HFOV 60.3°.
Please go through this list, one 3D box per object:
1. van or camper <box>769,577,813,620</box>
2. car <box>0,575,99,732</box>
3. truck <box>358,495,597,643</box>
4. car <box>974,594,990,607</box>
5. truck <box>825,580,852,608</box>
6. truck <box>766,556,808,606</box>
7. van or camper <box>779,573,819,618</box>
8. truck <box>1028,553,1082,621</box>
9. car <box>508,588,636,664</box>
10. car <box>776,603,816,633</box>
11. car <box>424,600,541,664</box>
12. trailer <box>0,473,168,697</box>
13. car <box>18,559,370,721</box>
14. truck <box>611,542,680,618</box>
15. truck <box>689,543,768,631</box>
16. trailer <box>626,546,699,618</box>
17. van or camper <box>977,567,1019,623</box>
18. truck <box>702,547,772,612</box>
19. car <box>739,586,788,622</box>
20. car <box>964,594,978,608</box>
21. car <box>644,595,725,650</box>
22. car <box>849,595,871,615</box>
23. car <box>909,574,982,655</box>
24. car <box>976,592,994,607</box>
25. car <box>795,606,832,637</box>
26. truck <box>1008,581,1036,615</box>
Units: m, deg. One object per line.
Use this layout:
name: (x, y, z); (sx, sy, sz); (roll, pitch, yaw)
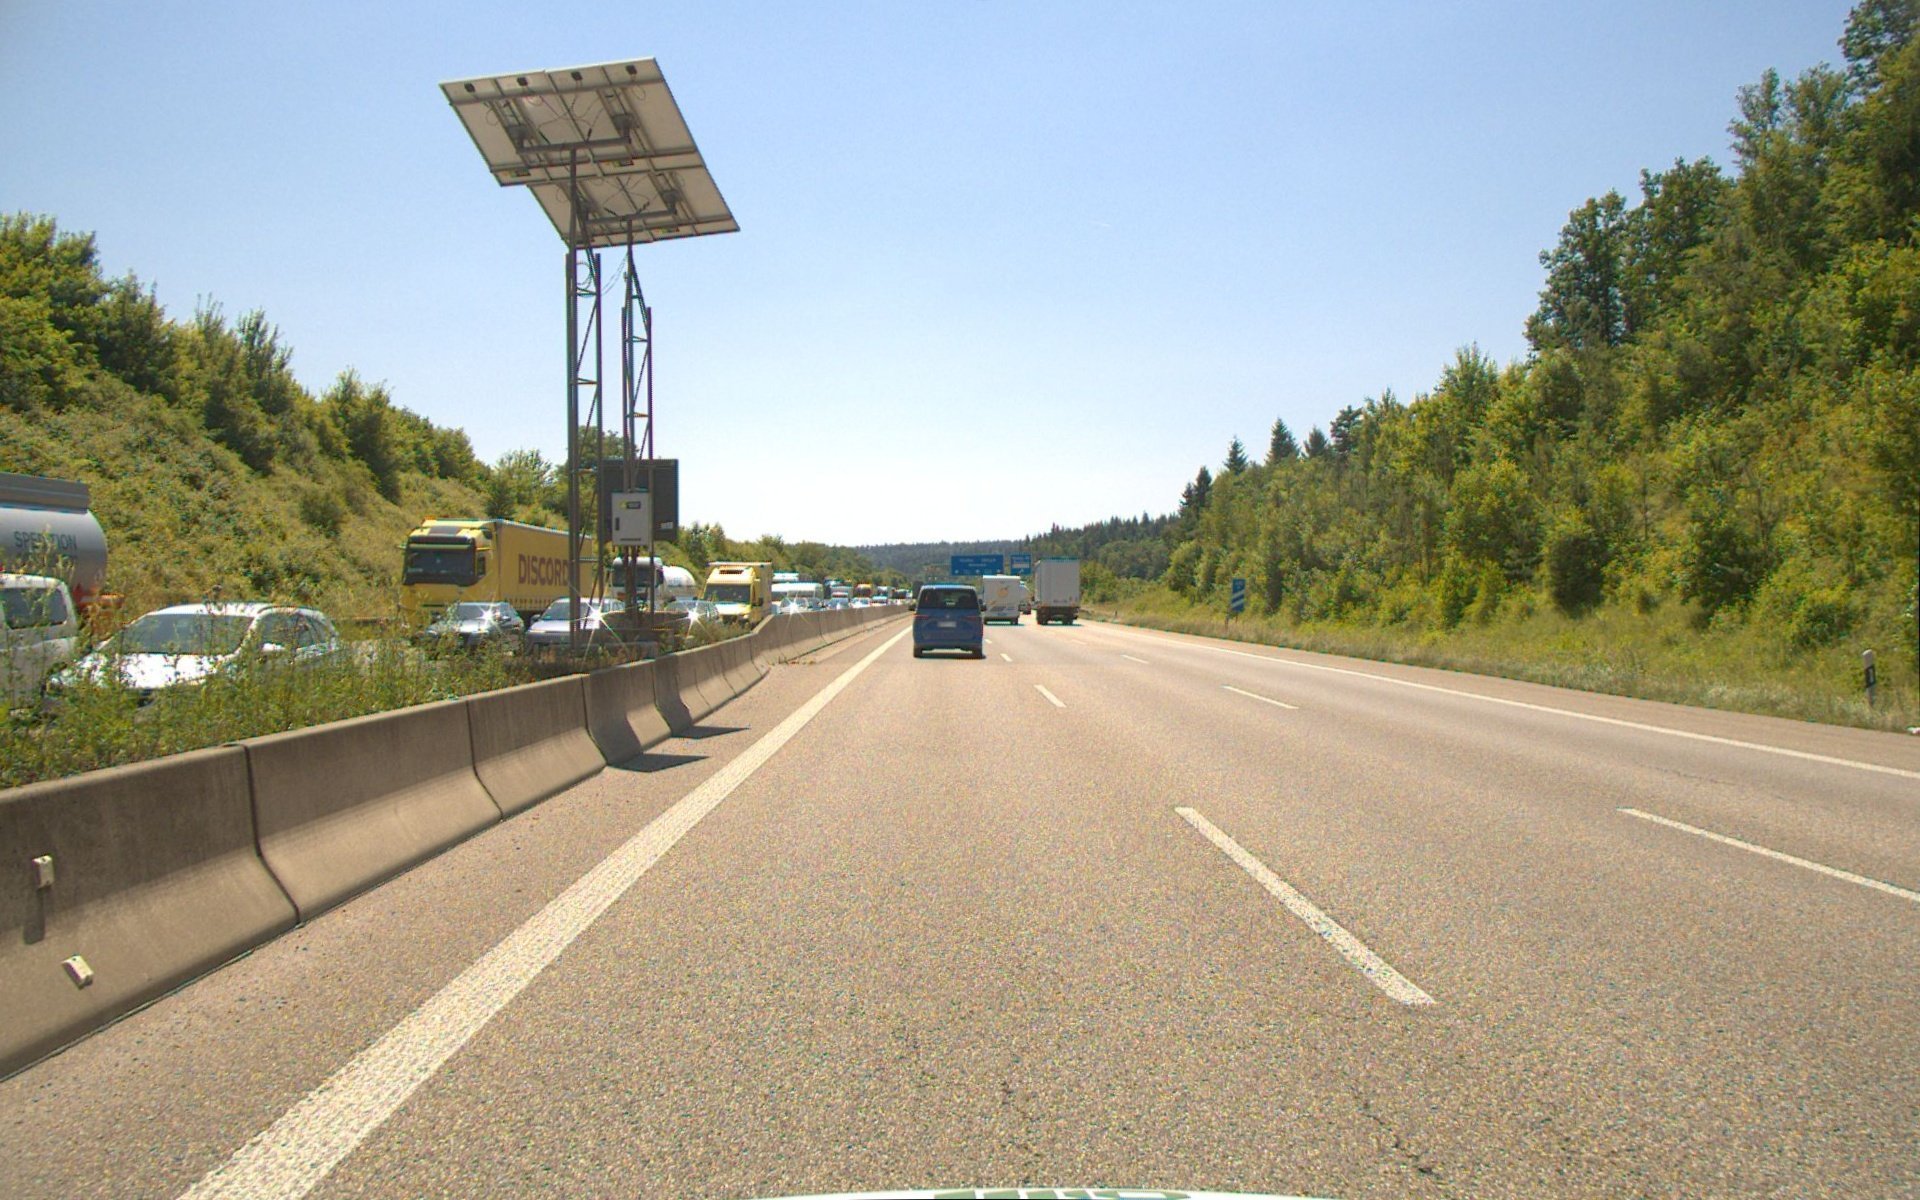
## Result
van or camper: (-12.199, -0.068, 120.020); (2.151, 2.991, 7.535); (1, -1, 2)
car: (-11.895, 0.601, 18.864); (1.791, 1.793, 4.757); (1, -1, -2)
truck: (-16.800, -0.888, 59.740); (3.621, 4.534, 17.377); (1, 0, -1)
car: (2.480, 0.078, 187.972); (1.744, 1.512, 3.999); (0, 0, -1)
truck: (-13.280, -0.605, 181.095); (2.516, 2.895, 6.751); (1, -1, -1)
truck: (-16.768, -1.782, 160.758); (2.881, 4.595, 8.606); (1, -1, 1)
van or camper: (-10.543, -0.272, 108.836); (2.206, 2.824, 7.213); (1, -1, -2)
truck: (6.134, -0.791, 108.245); (2.727, 4.201, 9.737); (1, -1, -1)
car: (-8.289, 0.542, 35.704); (1.791, 1.523, 4.757); (1, 0, -2)
car: (-8.597, 0.952, 86.910); (1.791, 1.523, 4.757); (1, 0, -2)
car: (-12.162, 0.787, 42.431); (1.791, 1.523, 4.757); (1, 0, -2)
trailer: (-15.598, -0.255, 24.118); (2.525, 3.352, 11.692); (1, -1, -1)
car: (-8.173, 0.404, 18.202); (1.791, 1.523, 4.757); (1, 0, -2)
truck: (-16.325, -0.982, 86.080); (2.624, 3.809, 5.869); (1, -1, -2)
truck: (-8.559, -0.429, 61.753); (2.222, 3.069, 6.773); (1, -1, -2)
trailer: (-16.563, -0.986, 92.742); (2.558, 3.798, 10.676); (1, 0, -3)
van or camper: (2.397, -0.404, 105.837); (2.549, 3.131, 7.185); (1, 4, 0)
truck: (-16.700, -1.375, 125.131); (3.622, 4.534, 16.666); (1, 0, -2)
car: (-8.692, 0.175, 73.507); (1.791, 1.523, 4.757); (1, 0, -2)
car: (1.356, 0.111, 210.156); (1.740, 1.803, 3.999); (0, 0, -1)
car: (-8.205, 0.656, 49.546); (1.791, 1.523, 4.757); (1, 0, -2)
car: (-9.072, 0.476, 150.357); (1.791, 1.795, 4.989); (1, -1, -1)
car: (-0.402, 0.358, 44.871); (1.870, 2.049, 3.999); (1, 0, -1)
car: (2.544, -0.062, 169.981); (1.744, 1.512, 3.999); (0, 0, -1)
car: (-8.612, 1.267, 97.717); (1.791, 1.795, 4.989); (1, -1, -1)
truck: (6.833, -0.304, 183.863); (2.867, 3.637, 8.527); (-1, 1, 1)
